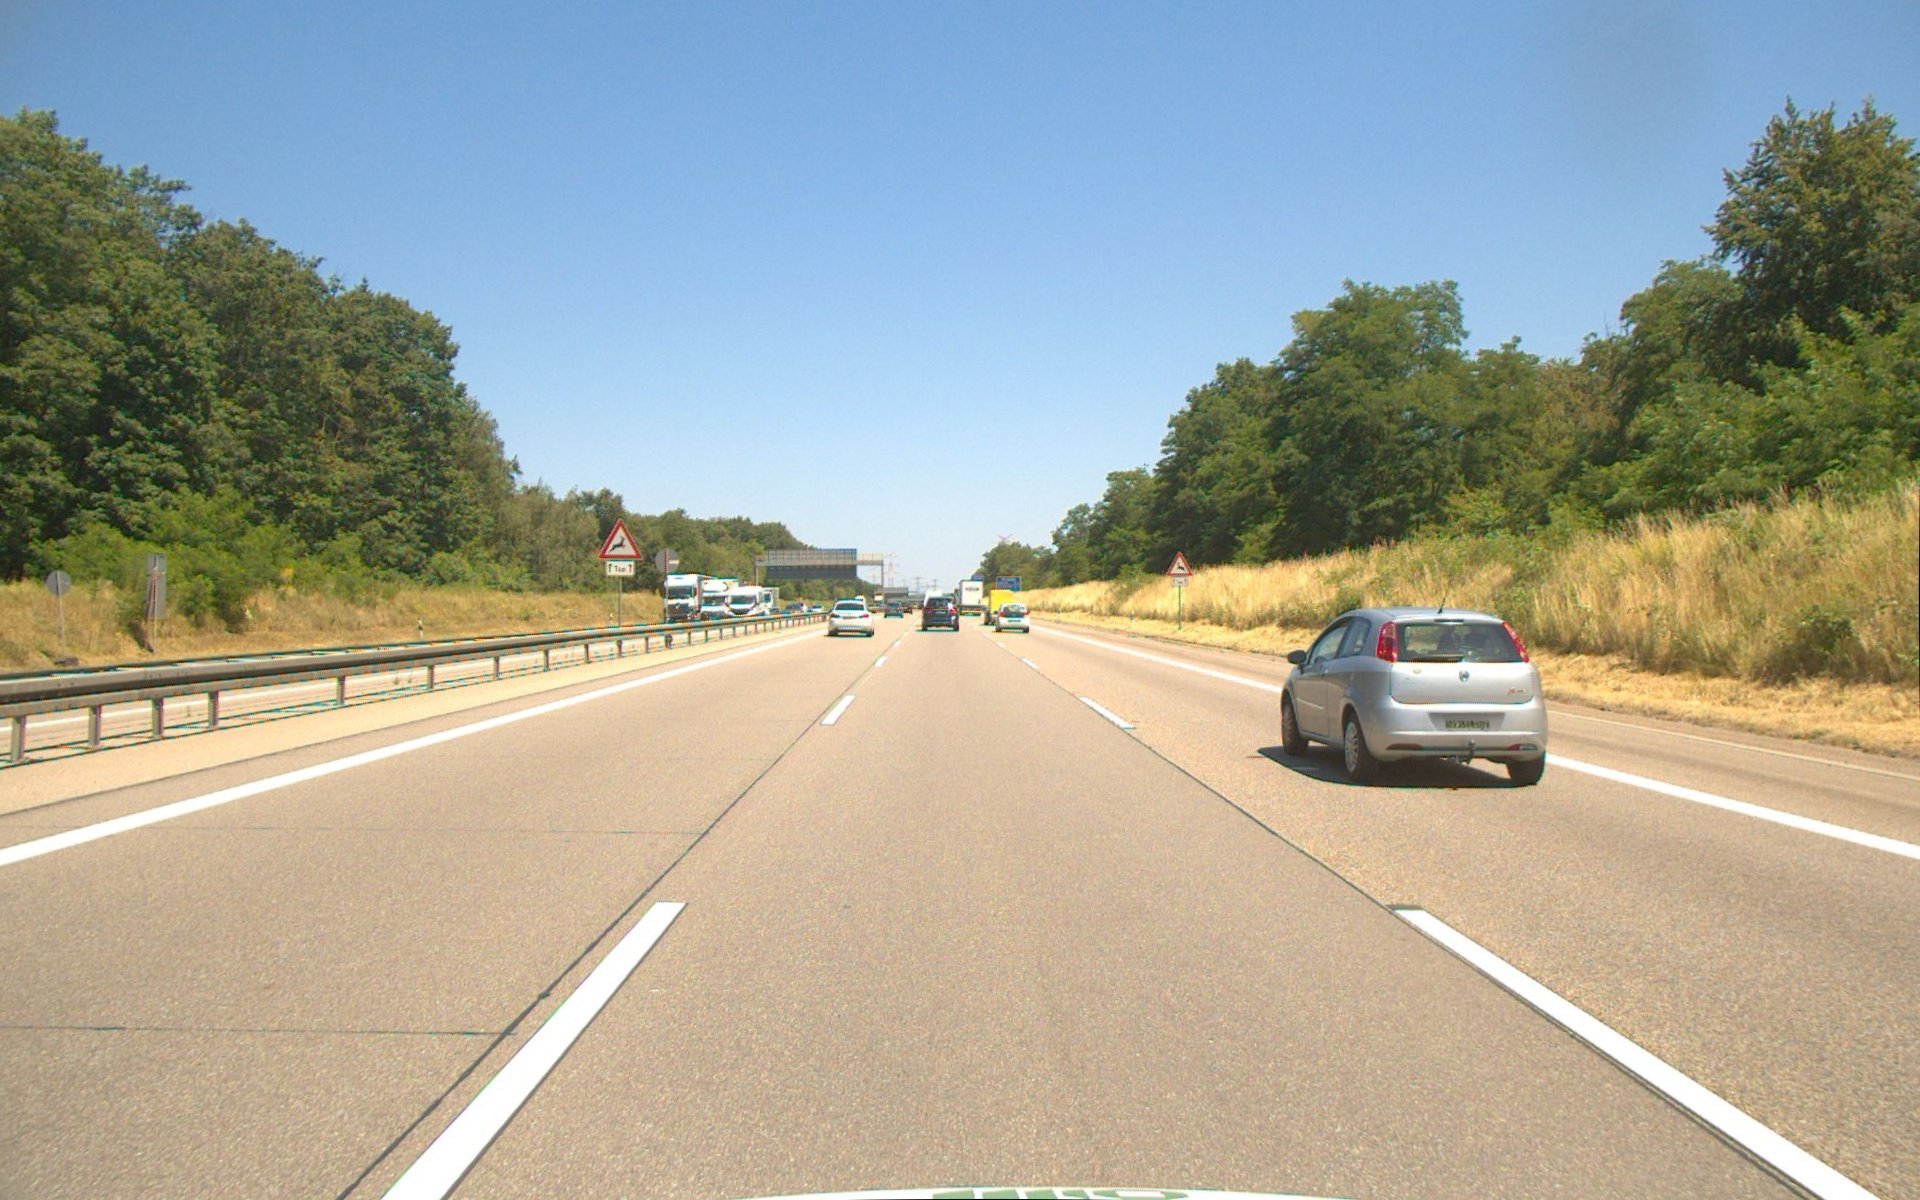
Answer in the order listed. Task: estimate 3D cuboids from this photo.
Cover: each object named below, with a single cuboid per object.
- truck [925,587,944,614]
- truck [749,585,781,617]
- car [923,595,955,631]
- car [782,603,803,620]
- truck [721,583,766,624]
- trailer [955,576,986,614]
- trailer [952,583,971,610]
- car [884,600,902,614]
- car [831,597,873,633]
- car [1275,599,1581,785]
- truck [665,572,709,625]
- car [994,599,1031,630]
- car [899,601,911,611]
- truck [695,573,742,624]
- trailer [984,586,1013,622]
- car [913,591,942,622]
[{"bbox_3d":[-2.864,0.091,183.075,2.018,2.965,7.001,0,-1,-1],"label":"truck"},{"bbox_3d":[-23.346,0.166,198.034,2.677,3.580,10.438,-3,0,-1],"label":"truck"},{"bbox_3d":[-1.097,0.650,85.247,1.593,1.785,3.804,0,0,-1],"label":"car"},{"bbox_3d":[-15.186,1.070,149.974,1.572,1.423,4.543,-3,0,-2],"label":"car"},{"bbox_3d":[-15.290,0.243,117.112,2.040,2.668,8.030,-3,0,0],"label":"truck"},{"bbox_3d":[1.222,-0.519,199.887,3.219,4.293,13.560,1,-1,-1],"label":"trailer"},{"bbox_3d":[0.222,-0.511,251.217,2.628,3.904,12.006,1,-1,-1],"label":"trailer"},{"bbox_3d":[-6.250,0.679,154.604,1.574,1.323,3.673,0,0,-1],"label":"car"},{"bbox_3d":[-4.502,0.615,69.460,1.635,1.426,3.711,0,0,-2],"label":"car"},{"bbox_3d":[4.195,0.761,15.463,1.709,1.491,3.980,1,0,0],"label":"car"},{"bbox_3d":[-22.197,-0.133,134.736,2.455,4.084,6.124,-3,0,-1],"label":"truck"},{"bbox_3d":[2.639,0.727,84.267,1.673,1.521,4.023,0,0,-1],"label":"car"},{"bbox_3d":[-6.773,0.744,204.648,1.377,1.151,3.357,0,0,-1],"label":"car"},{"bbox_3d":[-18.751,-0.111,128.632,2.407,3.669,8.118,-3,0,-1],"label":"truck"},{"bbox_3d":[2.549,0.292,109.462,1.669,2.330,3.838,1,0,-2],"label":"trailer"},{"bbox_3d":[-2.066,0.427,103.712,1.777,1.859,5.109,0,-1,-1],"label":"car"}]
